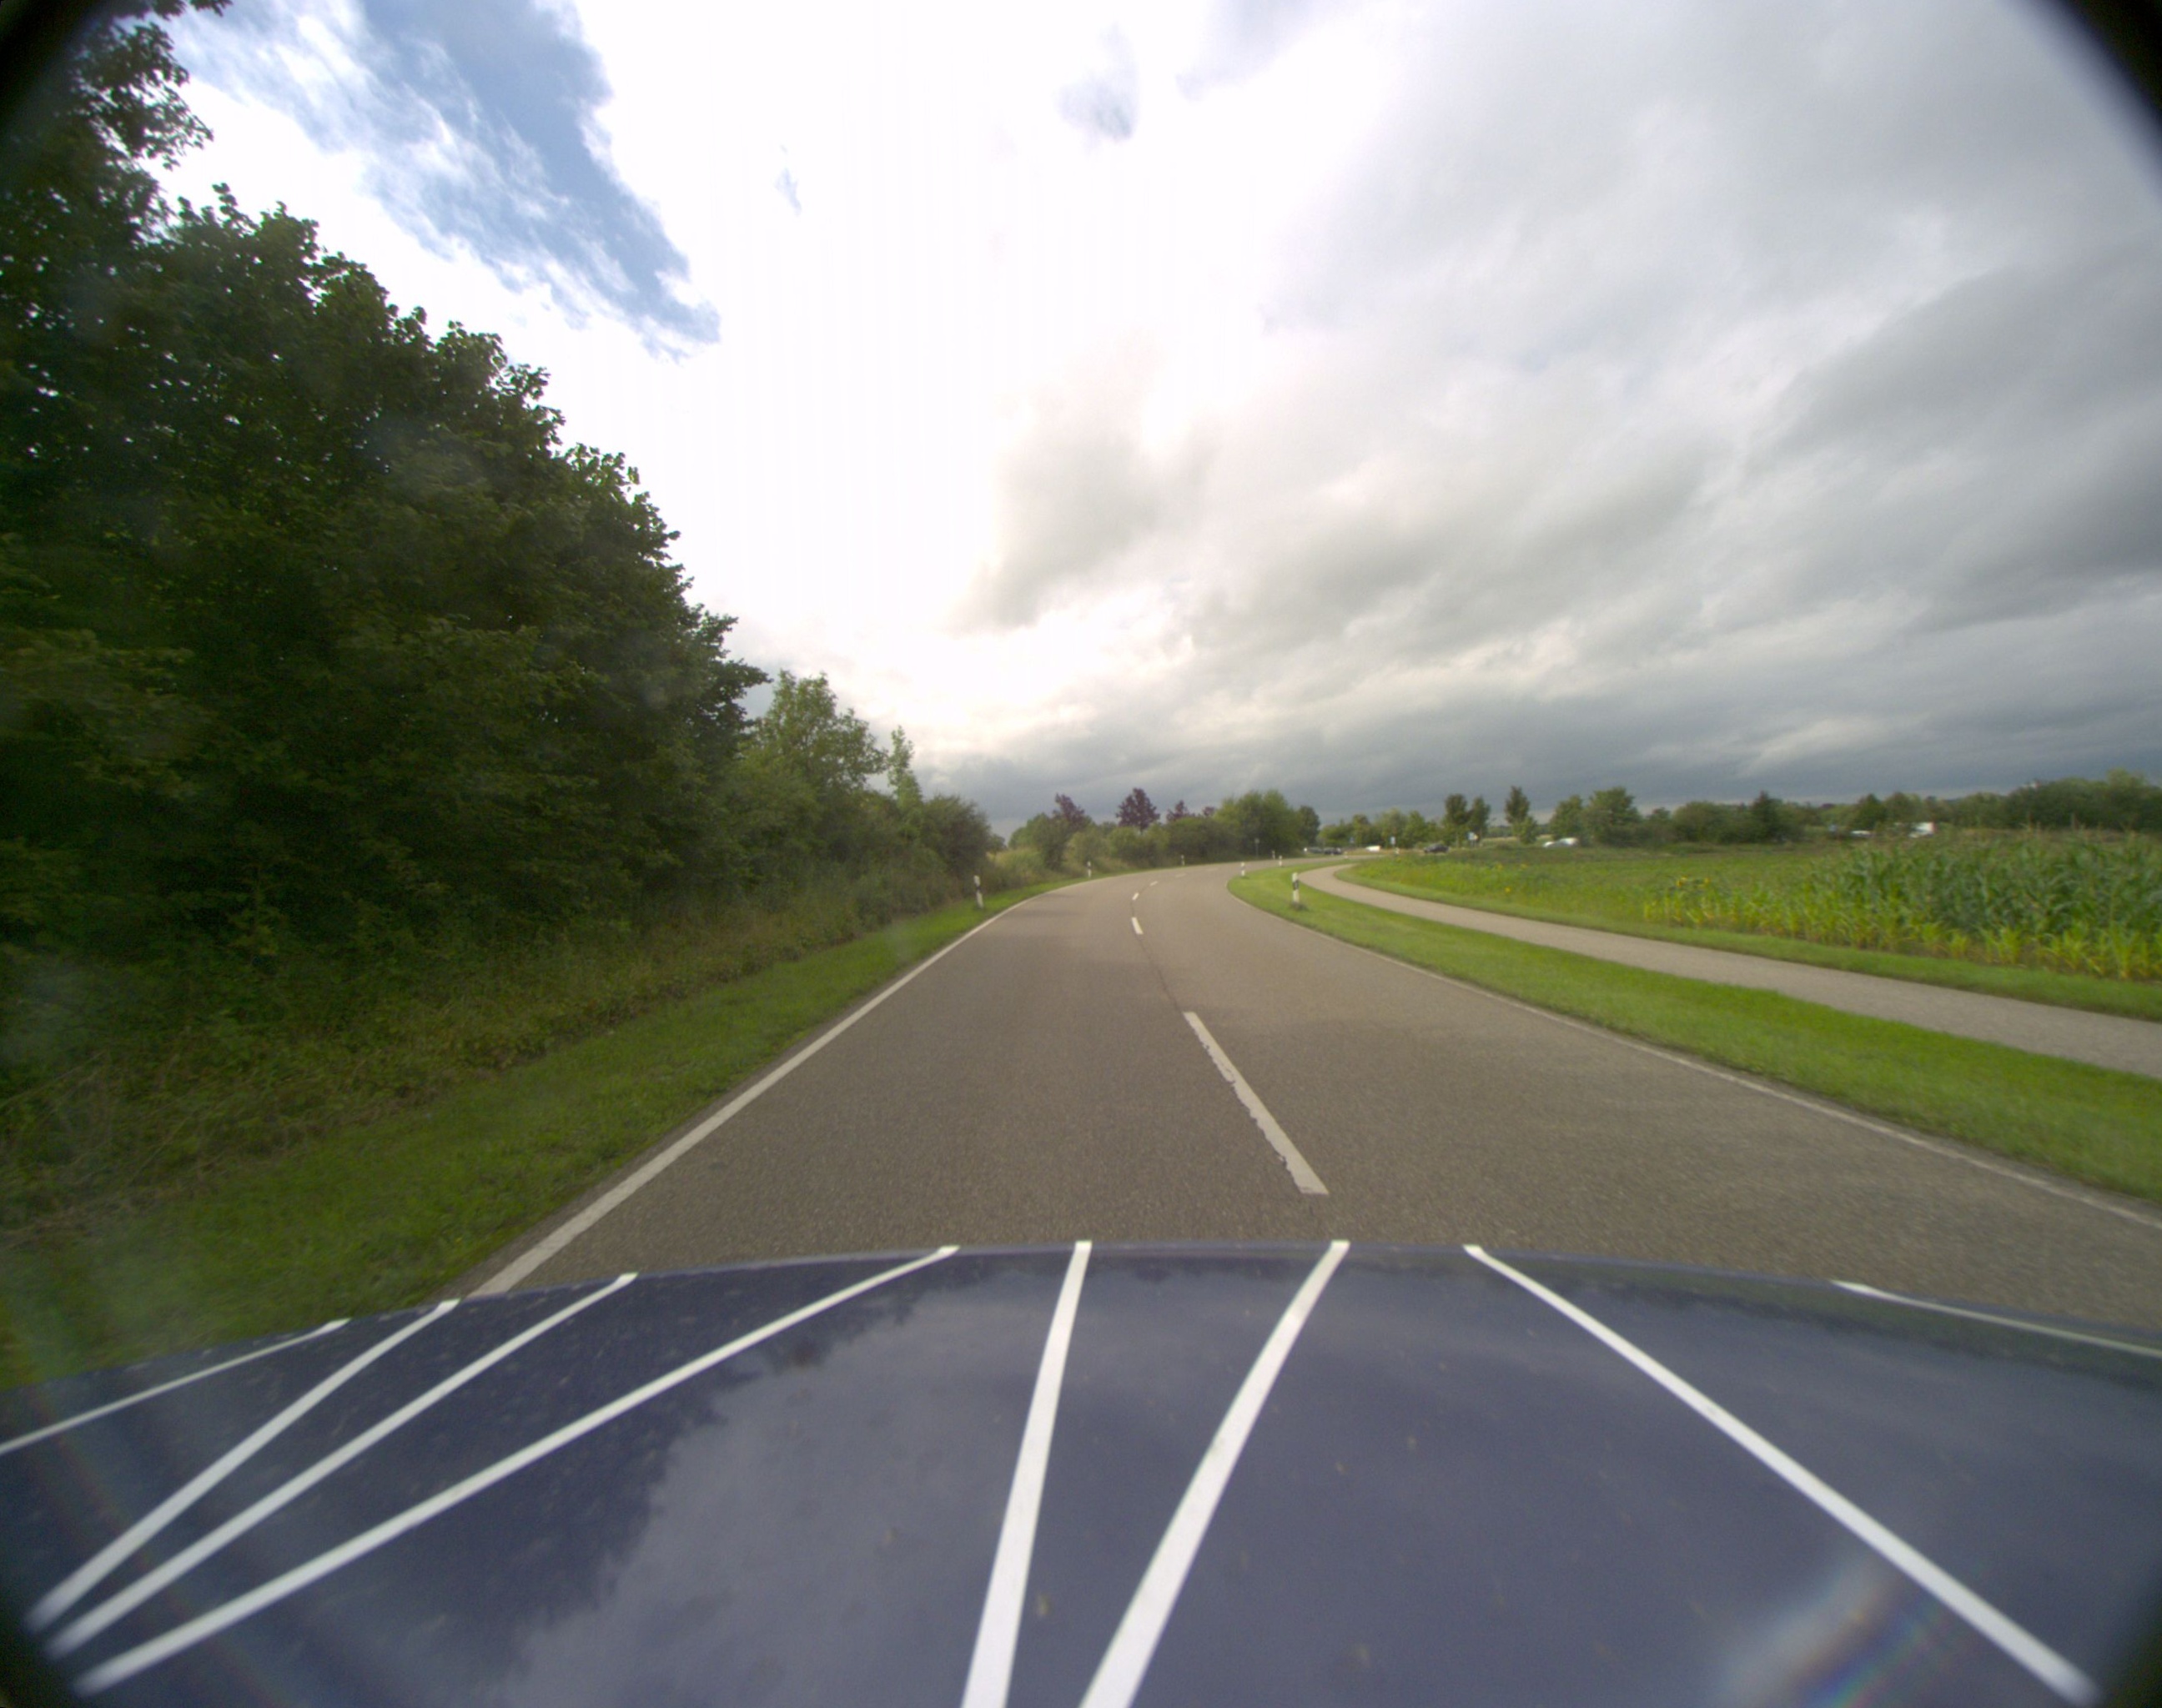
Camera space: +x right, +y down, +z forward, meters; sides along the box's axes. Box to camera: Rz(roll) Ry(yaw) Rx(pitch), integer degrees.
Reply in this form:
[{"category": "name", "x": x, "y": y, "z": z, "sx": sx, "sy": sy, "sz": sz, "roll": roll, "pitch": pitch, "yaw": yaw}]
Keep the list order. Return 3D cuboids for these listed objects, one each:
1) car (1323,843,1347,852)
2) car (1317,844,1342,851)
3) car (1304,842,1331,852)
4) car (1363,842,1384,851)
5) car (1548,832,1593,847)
[{"category": "car", "x": 51.011, "y": -1.295, "z": 152.537, "sx": 3.999, "sy": 1.496, "sz": 2.056, "roll": -2, "pitch": 1, "yaw": 42}, {"category": "car", "x": 48.905, "y": -1.279, "z": 149.703, "sx": 4.154, "sy": 1.406, "sz": 2.004, "roll": -2, "pitch": 0, "yaw": 35}, {"category": "car", "x": 45.205, "y": -1.329, "z": 145.002, "sx": 4.480, "sy": 1.572, "sz": 2.004, "roll": -2, "pitch": 1, "yaw": 35}, {"category": "car", "x": 64.635, "y": -1.697, "z": 167.897, "sx": 3.989, "sy": 1.849, "sz": 2.004, "roll": -2, "pitch": 1, "yaw": 39}, {"category": "car", "x": 69.993, "y": -2.084, "z": 108.734, "sx": 2.060, "sy": 2.002, "sz": 4.897, "roll": -2, "pitch": 0, "yaw": -39}]
